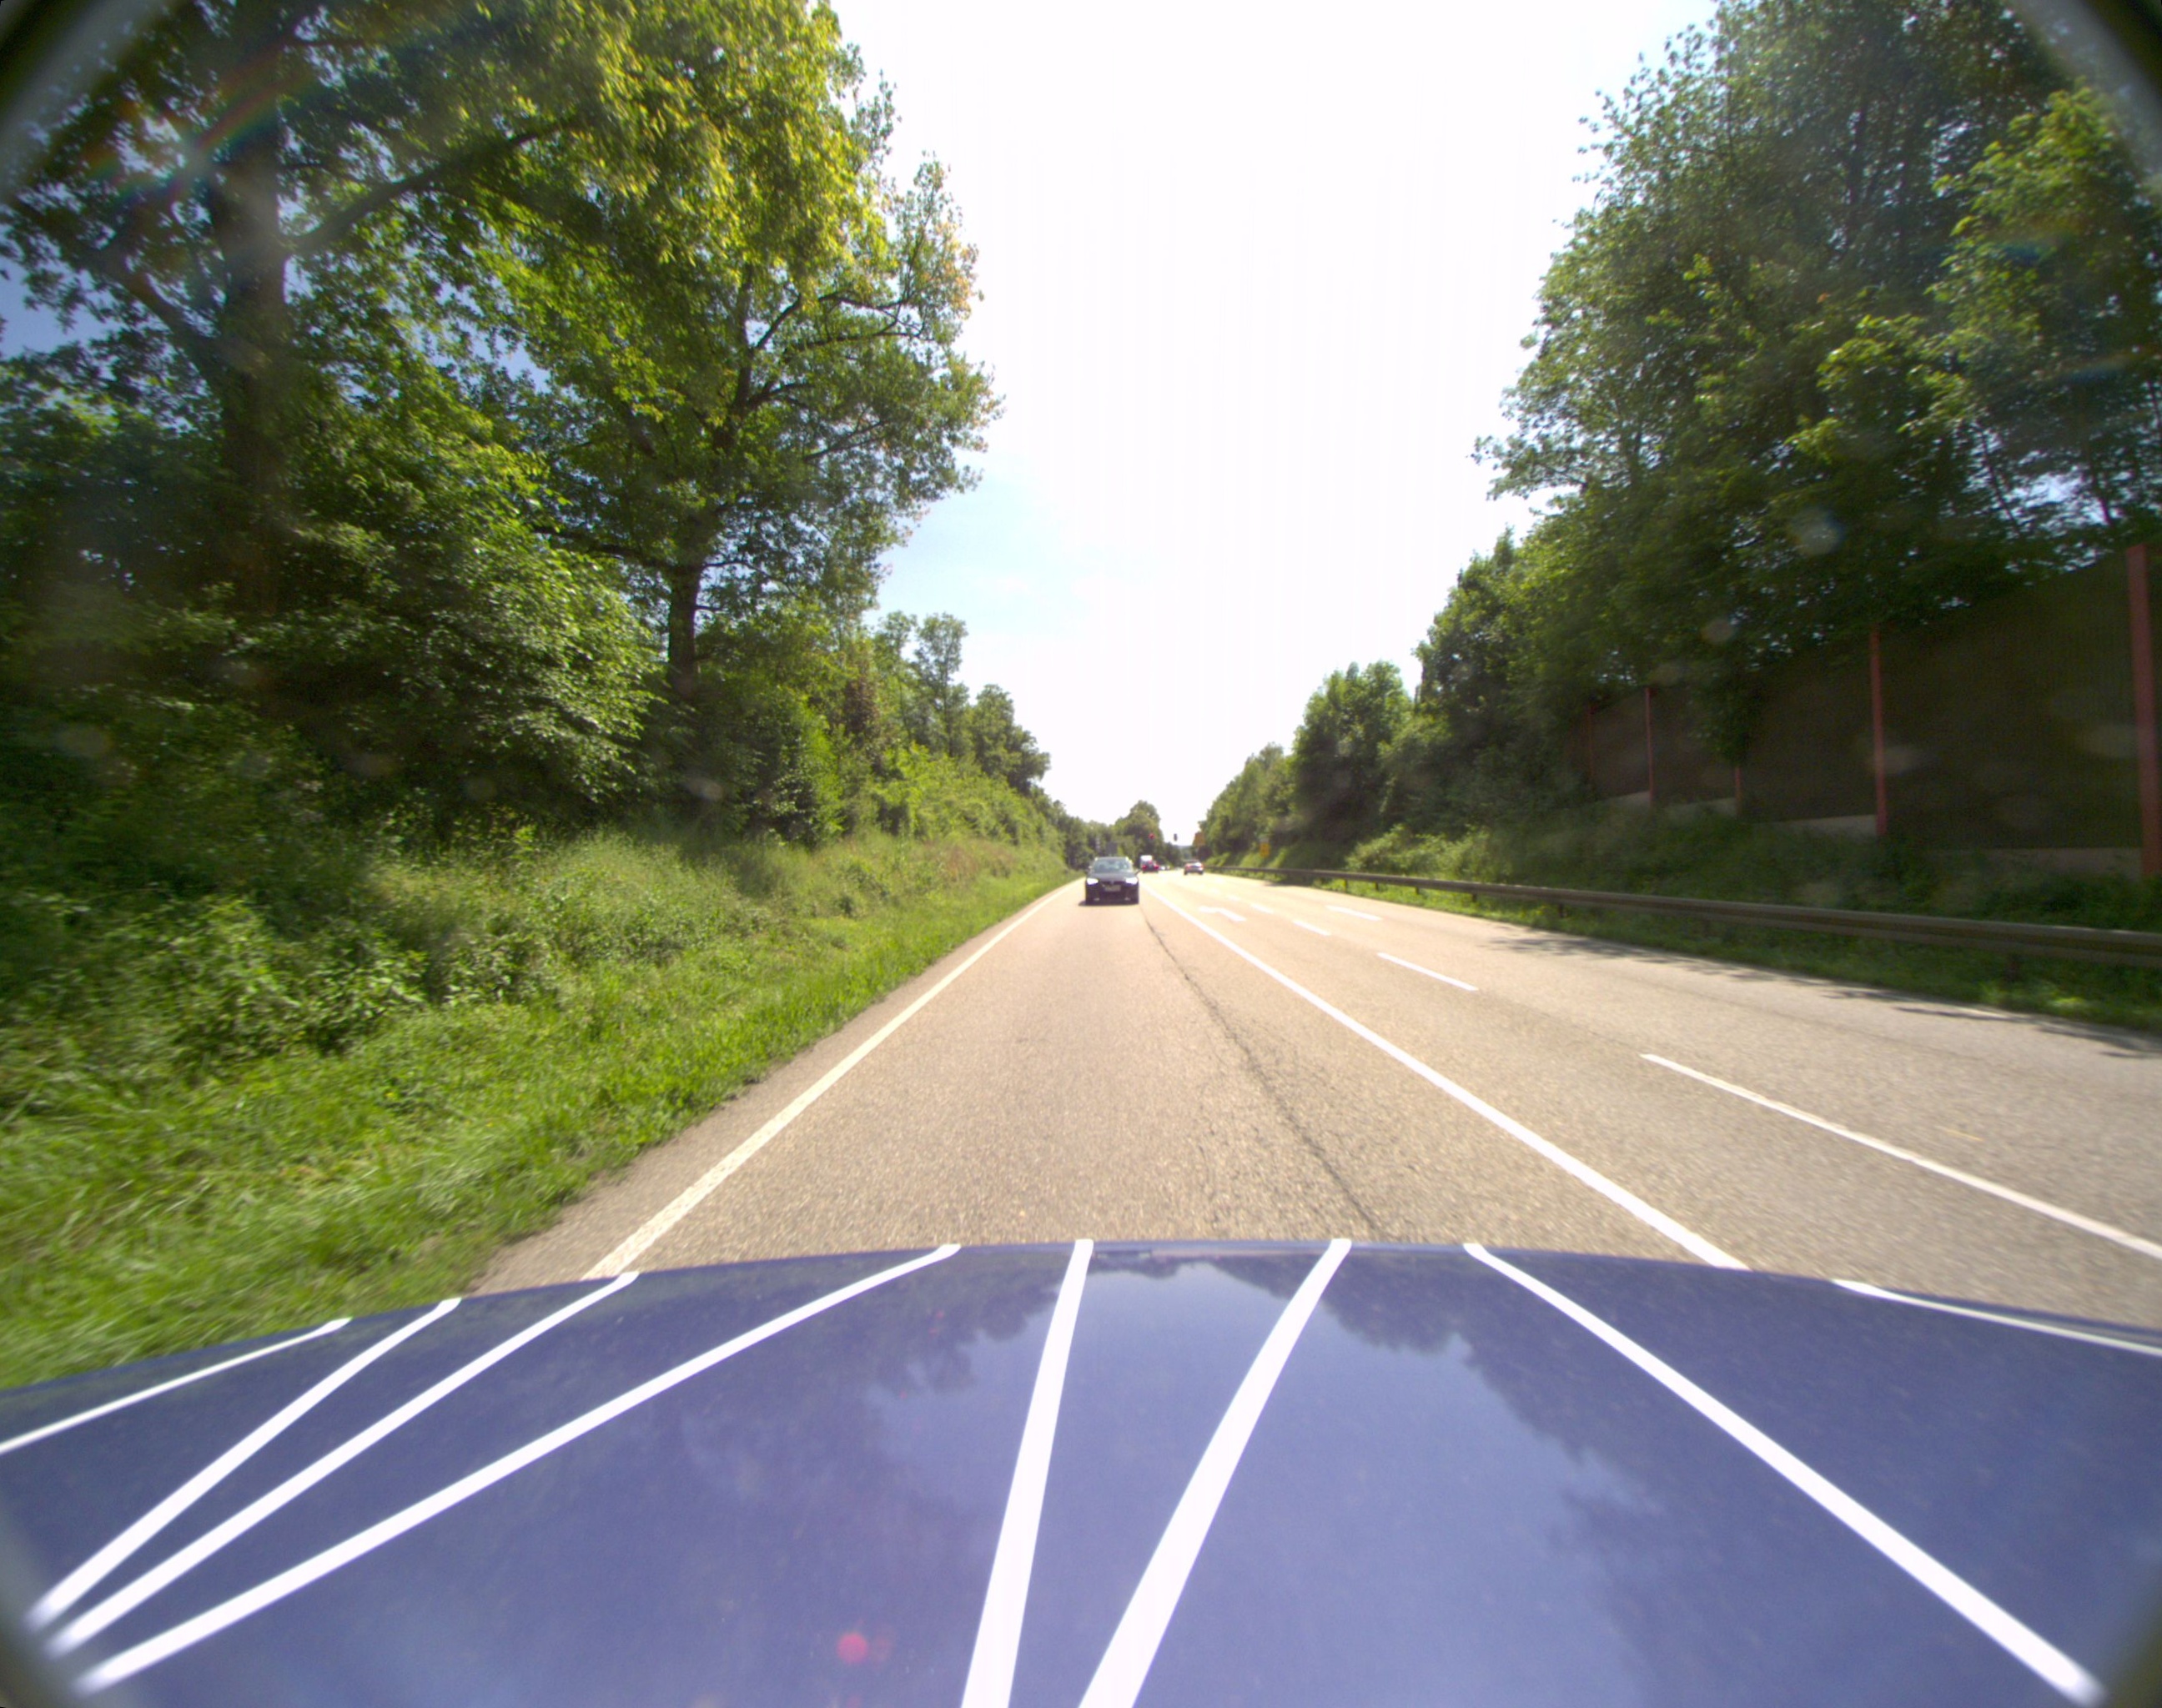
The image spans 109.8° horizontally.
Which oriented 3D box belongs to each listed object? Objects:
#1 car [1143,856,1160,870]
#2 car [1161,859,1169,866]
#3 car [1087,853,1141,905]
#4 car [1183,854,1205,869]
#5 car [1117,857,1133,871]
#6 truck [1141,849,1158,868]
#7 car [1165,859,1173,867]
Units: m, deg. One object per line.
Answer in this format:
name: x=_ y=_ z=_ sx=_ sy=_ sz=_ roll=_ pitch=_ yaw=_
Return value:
car: x=8.212 y=1.028 z=88.354 sx=1.808 sy=1.444 sz=4.388 roll=-2 pitch=0 yaw=5
car: x=22.775 y=2.186 z=206.192 sx=1.997 sy=1.790 sz=4.003 roll=-3 pitch=-1 yaw=9
car: x=1.100 y=0.797 z=25.669 sx=1.626 sy=1.535 sz=4.001 roll=-3 pitch=0 yaw=2
car: x=10.823 y=0.689 z=73.104 sx=1.810 sy=1.427 sz=3.872 roll=-1 pitch=0 yaw=4
car: x=6.790 y=1.479 z=116.720 sx=1.997 sy=2.001 sz=4.002 roll=-3 pitch=-1 yaw=7
truck: x=15.394 y=0.955 z=169.975 sx=2.837 sy=3.794 sz=8.457 roll=-3 pitch=0 yaw=12
car: x=25.445 y=2.601 z=219.046 sx=1.997 sy=2.001 sz=4.003 roll=-3 pitch=-1 yaw=9
